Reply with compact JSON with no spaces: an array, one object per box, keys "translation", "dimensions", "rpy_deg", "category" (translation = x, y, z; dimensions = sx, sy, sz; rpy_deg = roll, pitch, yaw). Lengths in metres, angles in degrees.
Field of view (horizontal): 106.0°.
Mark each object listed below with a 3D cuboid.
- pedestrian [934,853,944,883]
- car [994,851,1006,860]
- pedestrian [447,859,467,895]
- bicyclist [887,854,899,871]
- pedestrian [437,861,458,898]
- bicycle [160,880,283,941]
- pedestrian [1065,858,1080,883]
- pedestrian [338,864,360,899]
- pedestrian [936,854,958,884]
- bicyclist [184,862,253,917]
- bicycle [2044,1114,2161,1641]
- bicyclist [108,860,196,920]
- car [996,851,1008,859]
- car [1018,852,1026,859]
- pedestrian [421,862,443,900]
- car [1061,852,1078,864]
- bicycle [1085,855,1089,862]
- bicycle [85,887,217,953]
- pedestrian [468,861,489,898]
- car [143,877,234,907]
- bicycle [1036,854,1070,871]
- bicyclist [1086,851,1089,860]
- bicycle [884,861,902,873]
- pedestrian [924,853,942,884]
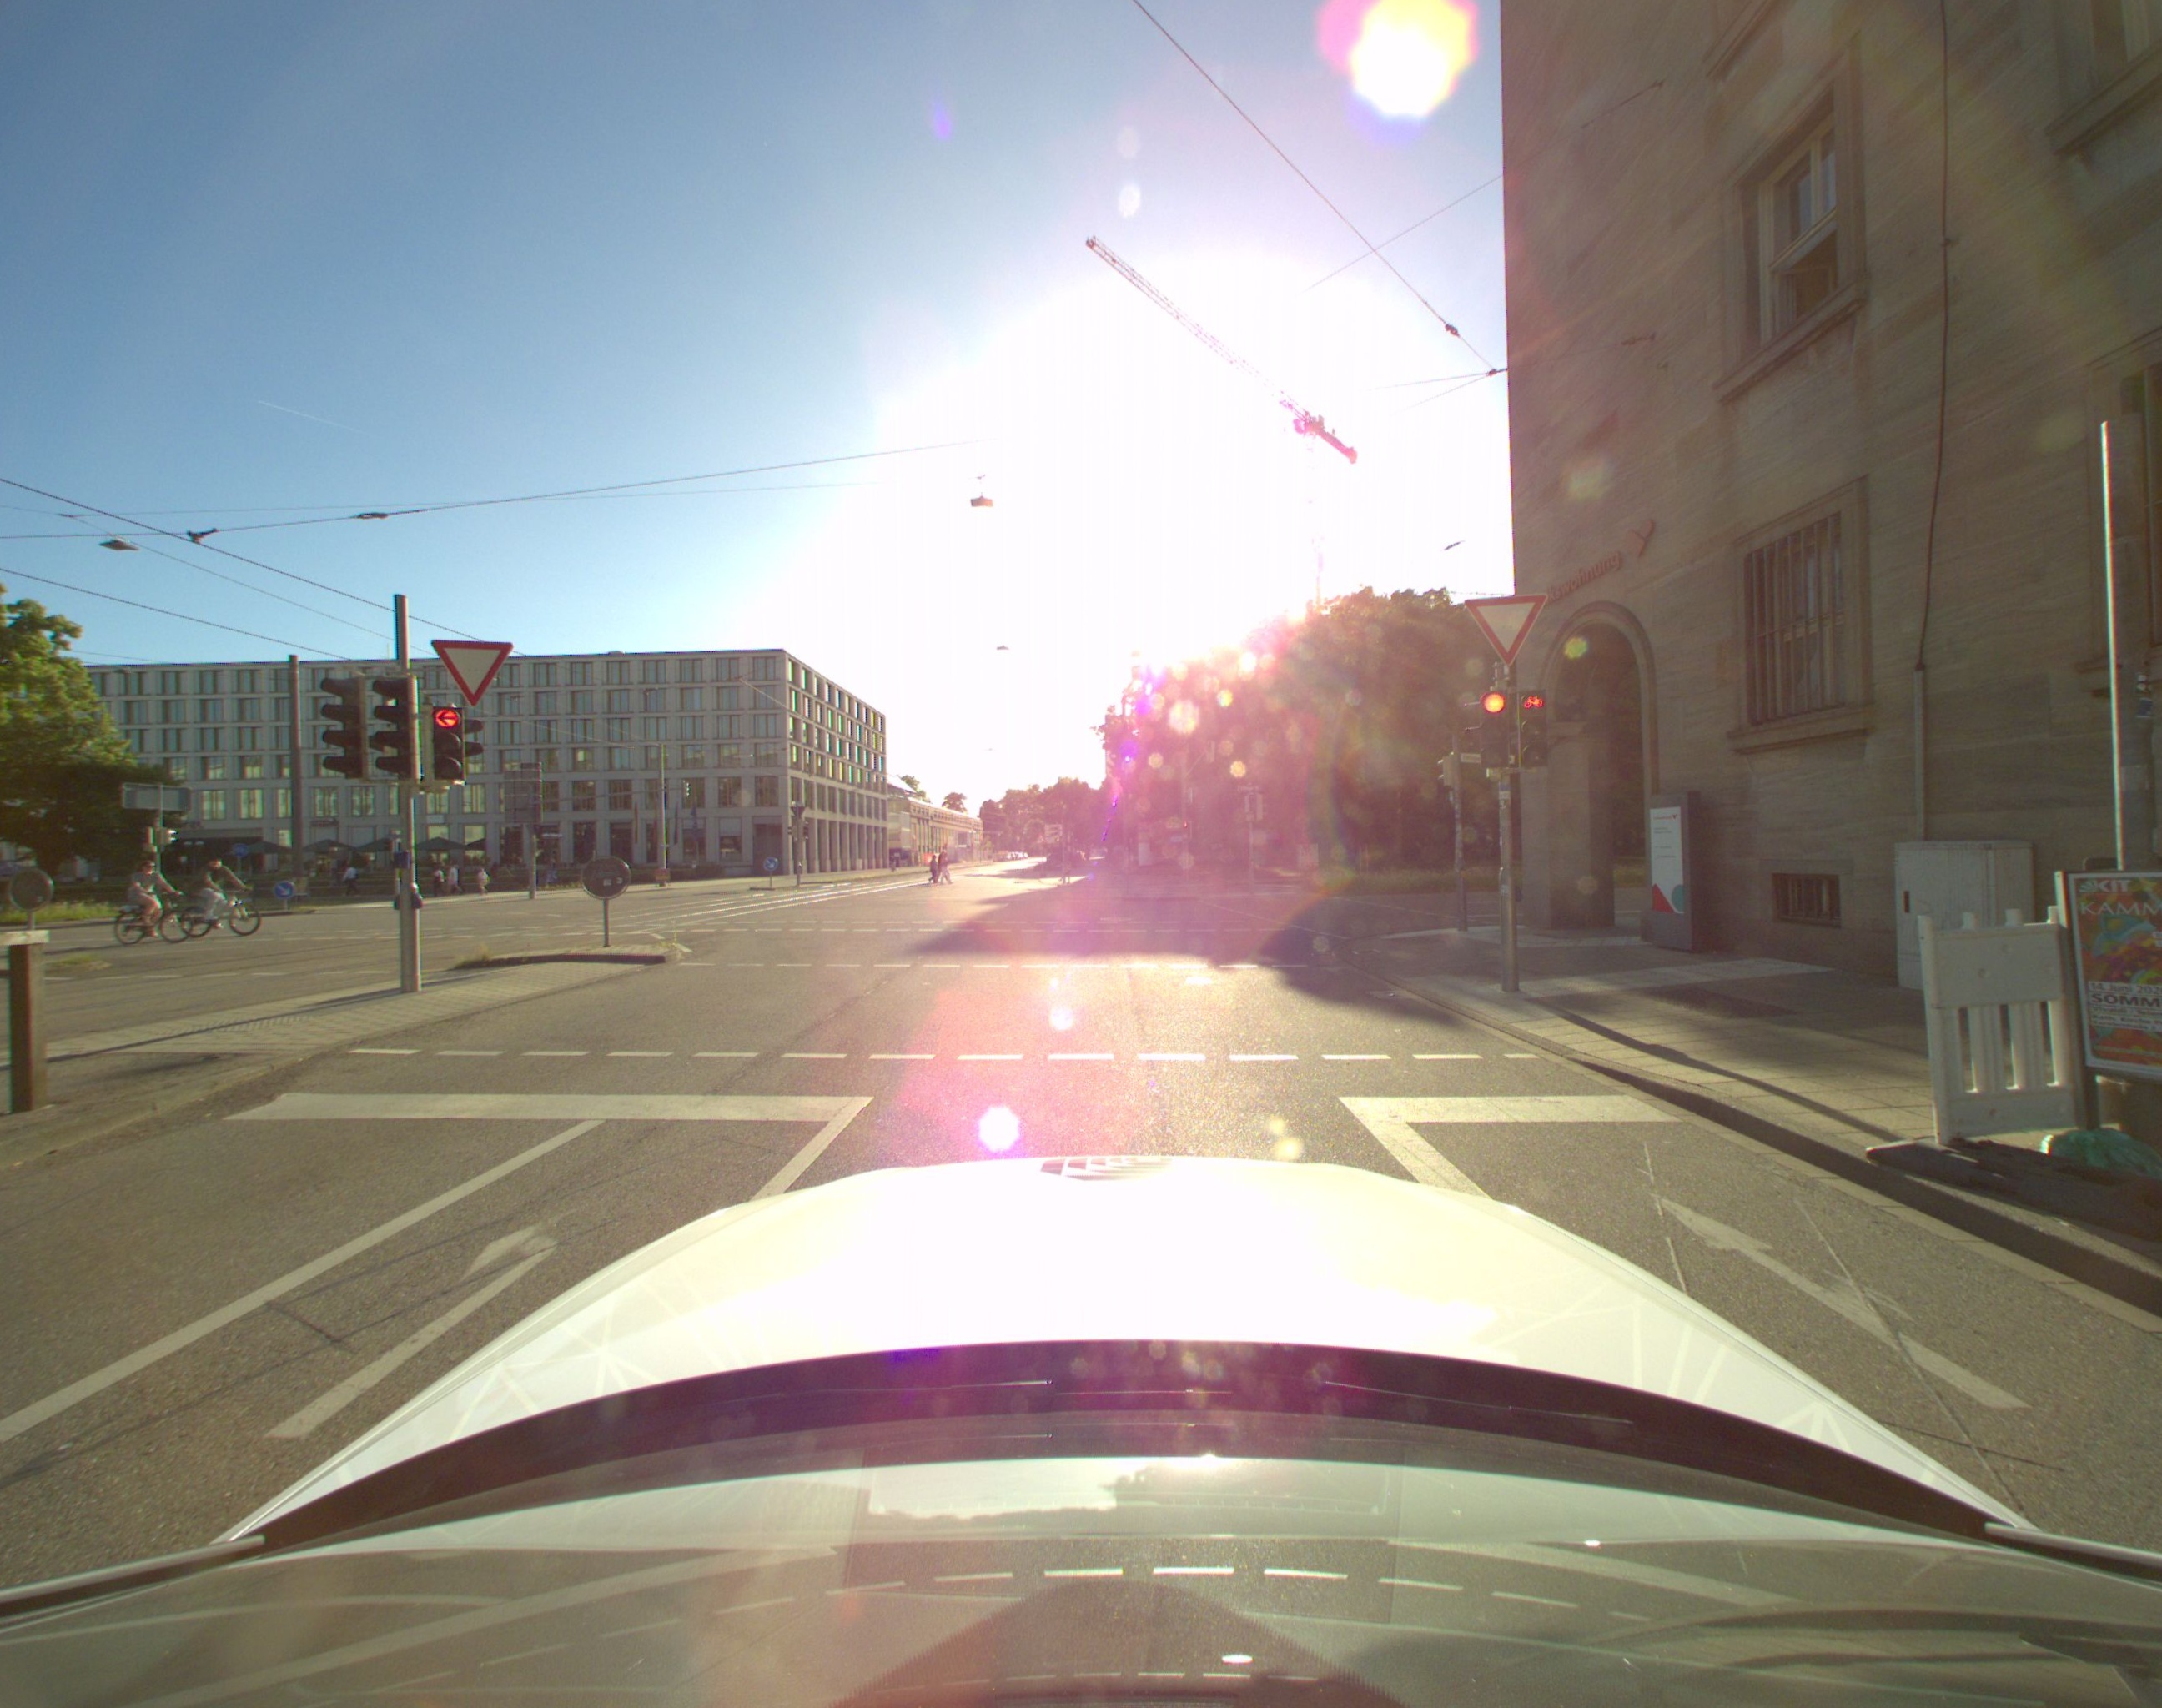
[{"translation":[-7.856,0.788,45.192],"dimensions":[0.440,1.662,0.376],"rpy_deg":[-2,0,1],"category":"pedestrian"},{"translation":[-15.642,0.270,156.653],"dimensions":[1.724,1.653,4.002],"rpy_deg":[-2,0,2],"category":"car"},{"translation":[-35.463,1.287,46.293],"dimensions":[0.528,2.013,0.800],"rpy_deg":[-2,0,-5],"category":"pedestrian"},{"translation":[-18.742,0.843,81.182],"dimensions":[0.872,1.641,0.822],"rpy_deg":[-2,0,3],"category":"bicyclist"},{"translation":[-35.104,1.387,45.130],"dimensions":[0.528,2.013,0.800],"rpy_deg":[-2,0,-5],"category":"pedestrian"},{"translation":[-19.899,1.297,18.886],"dimensions":[1.979,1.291,0.792],"rpy_deg":[-2,0,0],"category":"bicycle"},{"translation":[-0.449,0.883,44.499],"dimensions":[0.749,1.332,0.743],"rpy_deg":[-2,0,3],"category":"pedestrian"},{"translation":[-39.706,1.479,44.180],"dimensions":[0.557,1.903,0.684],"rpy_deg":[-2,0,10],"category":"pedestrian"},{"translation":[-7.127,0.785,43.351],"dimensions":[0.980,1.587,0.661],"rpy_deg":[-2,-1,3],"category":"pedestrian"},{"translation":[-19.995,0.818,18.891],"dimensions":[0.718,1.218,0.798],"rpy_deg":[-2,0,1],"category":"bicyclist"},{"translation":[2.015,0.989,0.685],"dimensions":[0.387,0.905,1.956],"rpy_deg":[-2,0,10],"category":"bicycle"},{"translation":[-19.822,0.753,17.397],"dimensions":[0.922,1.218,0.796],"rpy_deg":[-2,0,-1],"category":"bicyclist"},{"translation":[-15.630,0.213,160.780],"dimensions":[1.724,1.653,4.002],"rpy_deg":[-2,0,2],"category":"car"},{"translation":[-14.058,0.316,195.079],"dimensions":[1.478,1.750,4.002],"rpy_deg":[-2,0,2],"category":"car"},{"translation":[-34.973,1.430,43.868],"dimensions":[0.528,2.013,0.800],"rpy_deg":[-2,0,-5],"category":"pedestrian"},{"translation":[-1.264,0.431,91.099],"dimensions":[1.814,1.279,3.999],"rpy_deg":[-2,0,0],"category":"car"},{"translation":[0.736,0.503,100.166],"dimensions":[0.323,0.868,1.484],"rpy_deg":[-2,0,2],"category":"bicycle"},{"translation":[-19.822,1.395,17.388],"dimensions":[1.846,1.291,0.791],"rpy_deg":[-2,0,-2],"category":"bicycle"},{"translation":[-33.777,1.428,45.671],"dimensions":[0.528,2.013,0.800],"rpy_deg":[-2,0,-5],"category":"pedestrian"},{"translation":[-46.965,2.005,42.870],"dimensions":[3.173,1.438,1.472],"rpy_deg":[-2,0,1],"category":"car"},{"translation":[-2.328,0.726,67.366],"dimensions":[2.728,1.367,0.633],"rpy_deg":[-1,-1,12],"category":"bicycle"},{"translation":[0.751,0.143,100.111],"dimensions":[0.317,1.127,0.291],"rpy_deg":[-2,0,1],"category":"bicyclist"},{"translation":[-18.742,1.300,81.156],"dimensions":[0.872,1.121,3.015],"rpy_deg":[-2,0,3],"category":"bicycle"},{"translation":[-8.006,0.793,43.952],"dimensions":[0.792,1.639,0.534],"rpy_deg":[-2,0,4],"category":"pedestrian"}]
